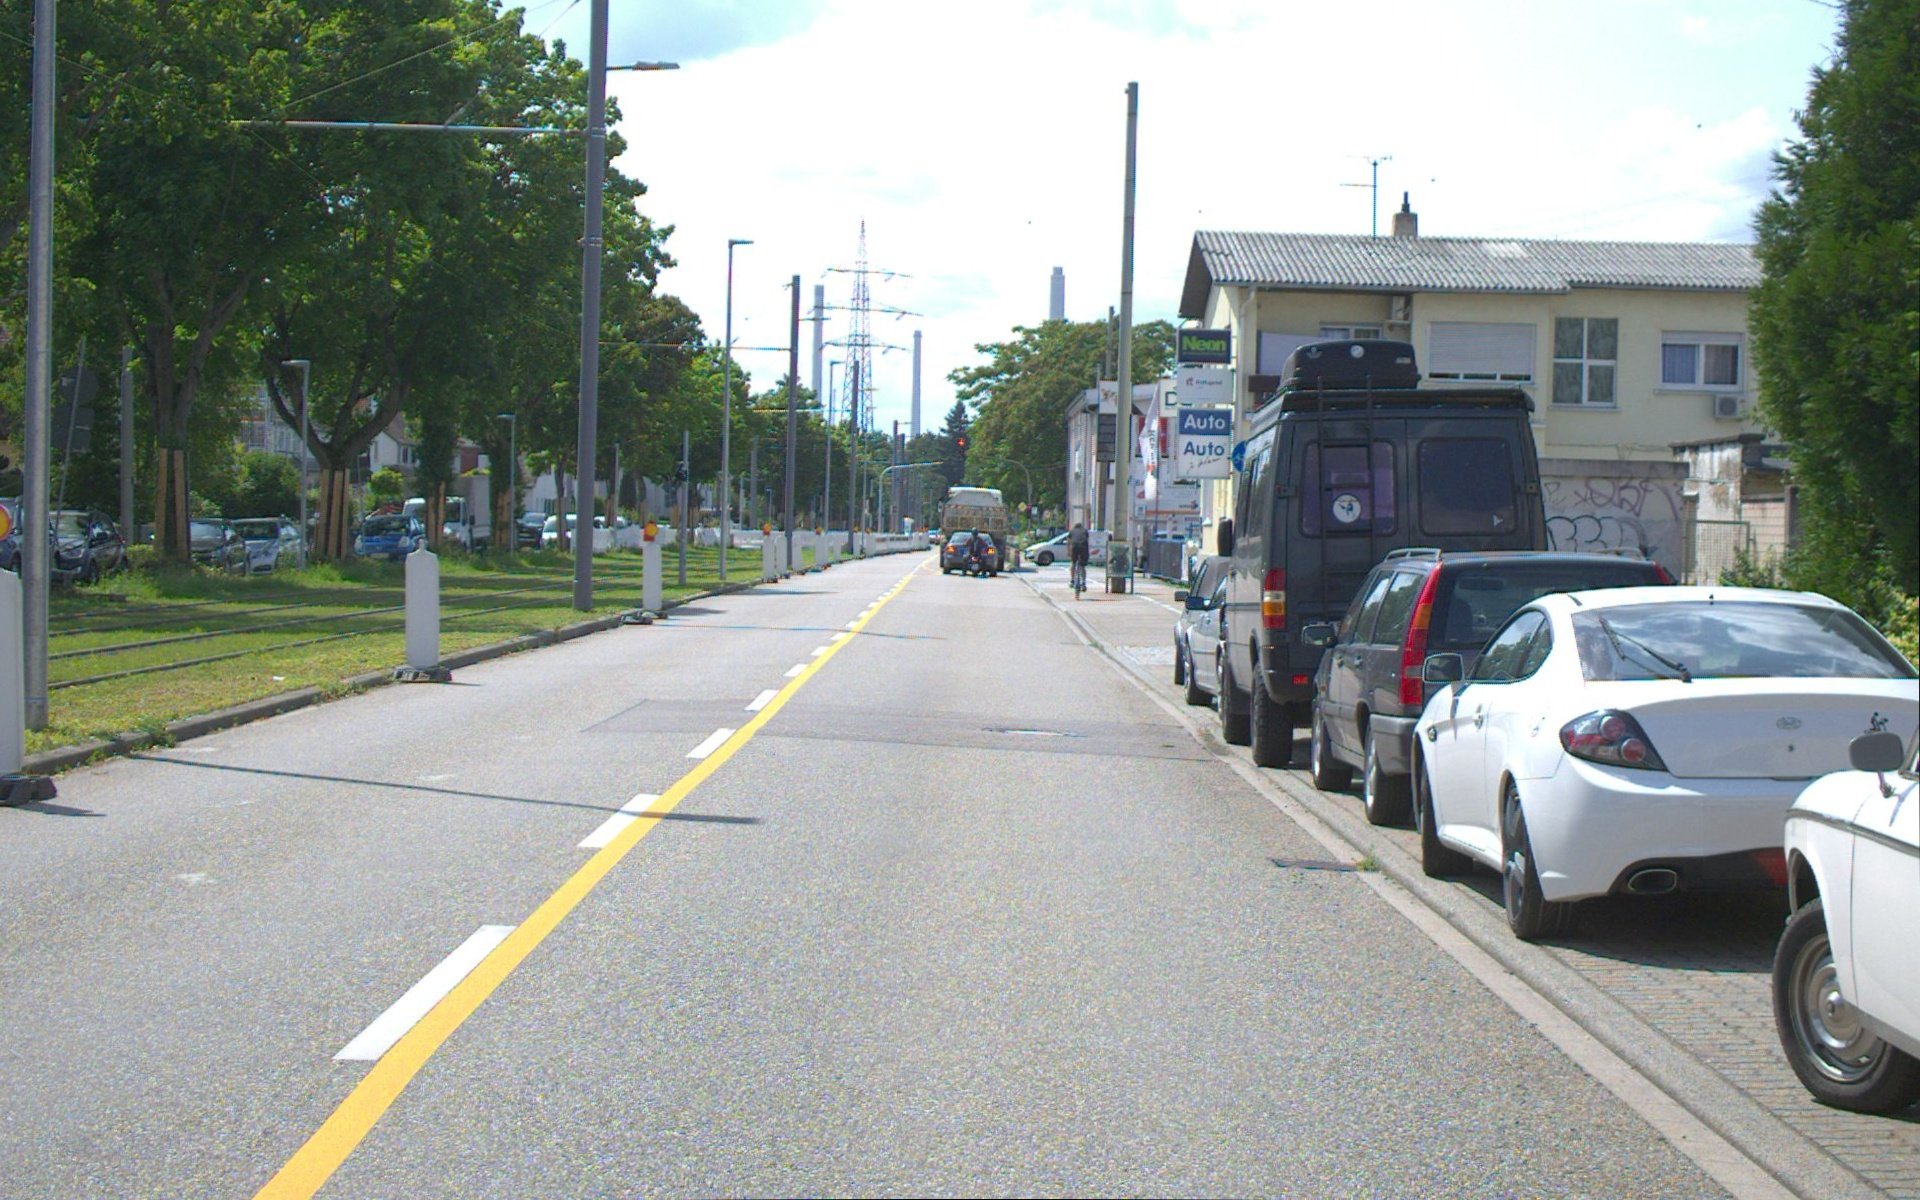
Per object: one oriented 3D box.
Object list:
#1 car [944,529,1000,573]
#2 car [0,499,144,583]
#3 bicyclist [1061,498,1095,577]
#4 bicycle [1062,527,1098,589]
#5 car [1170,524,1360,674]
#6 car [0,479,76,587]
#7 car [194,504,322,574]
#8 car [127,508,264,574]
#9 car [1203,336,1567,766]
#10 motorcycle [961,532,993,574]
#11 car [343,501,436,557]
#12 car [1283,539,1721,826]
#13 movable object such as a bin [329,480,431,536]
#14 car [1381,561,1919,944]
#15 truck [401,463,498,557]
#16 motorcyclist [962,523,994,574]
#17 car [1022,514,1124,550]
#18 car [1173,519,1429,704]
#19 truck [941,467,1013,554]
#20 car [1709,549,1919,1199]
[{"bbox_3d":[0.426,-1.702,118.502,1.821,1.419,4.000,3,1,0],"label":"car"},{"bbox_3d":[-16.111,-1.044,61.705,1.993,1.434,4.000,0,1,0],"label":"car"},{"bbox_3d":[2.658,-1.397,77.231,0.671,1.738,0.813,2,1,0],"label":"bicyclist"},{"bbox_3d":[2.689,-0.952,77.224,0.693,1.357,2.419,2,1,0],"label":"bicycle"},{"bbox_3d":[3.098,-0.030,35.598,1.651,1.426,4.096,1,1,1],"label":"car"},{"bbox_3d":[-15.851,-1.087,55.921,1.993,1.685,4.392,1,1,-3],"label":"car"},{"bbox_3d":[-15.790,-1.354,77.548,1.805,1.477,4.939,1,1,1],"label":"car"},{"bbox_3d":[-15.946,-1.224,71.896,1.993,1.313,3.852,-1,1,0],"label":"car"},{"bbox_3d":[2.928,-0.358,24.719,1.996,2.751,4.879,1,1,0],"label":"car"},{"bbox_3d":[0.570,-1.555,114.027,0.939,1.316,2.645,4,1,0],"label":"motorcycle"},{"bbox_3d":[-15.758,-1.950,95.108,1.993,1.448,4.000,1,1,-1],"label":"car"},{"bbox_3d":[2.917,0.369,19.476,1.721,1.397,4.837,1,1,0],"label":"car"},{"bbox_3d":[-26.938,-4.263,159.554,4.334,2.441,1.789,1,1,-21],"label":"movable object such as a bin"},{"bbox_3d":[2.858,0.511,14.014,1.721,1.291,4.129,1,1,0],"label":"car"},{"bbox_3d":[-15.703,-2.775,106.040,1.993,2.758,6.276,-1,1,0],"label":"truck"},{"bbox_3d":[0.583,-1.704,113.844,0.939,1.609,1.205,4,1,0],"label":"motorcyclist"},{"bbox_3d":[5.122,-3.081,155.850,4.329,1.546,1.950,1,0,-7],"label":"car"},{"bbox_3d":[2.985,0.077,30.903,1.691,1.511,4.356,1,1,-2],"label":"car"},{"bbox_3d":[0.712,-3.571,134.797,2.610,3.244,9.182,1,2,1],"label":"truck"},{"bbox_3d":[2.909,0.611,7.631,1.650,1.413,4.026,1,1,1],"label":"car"}]
